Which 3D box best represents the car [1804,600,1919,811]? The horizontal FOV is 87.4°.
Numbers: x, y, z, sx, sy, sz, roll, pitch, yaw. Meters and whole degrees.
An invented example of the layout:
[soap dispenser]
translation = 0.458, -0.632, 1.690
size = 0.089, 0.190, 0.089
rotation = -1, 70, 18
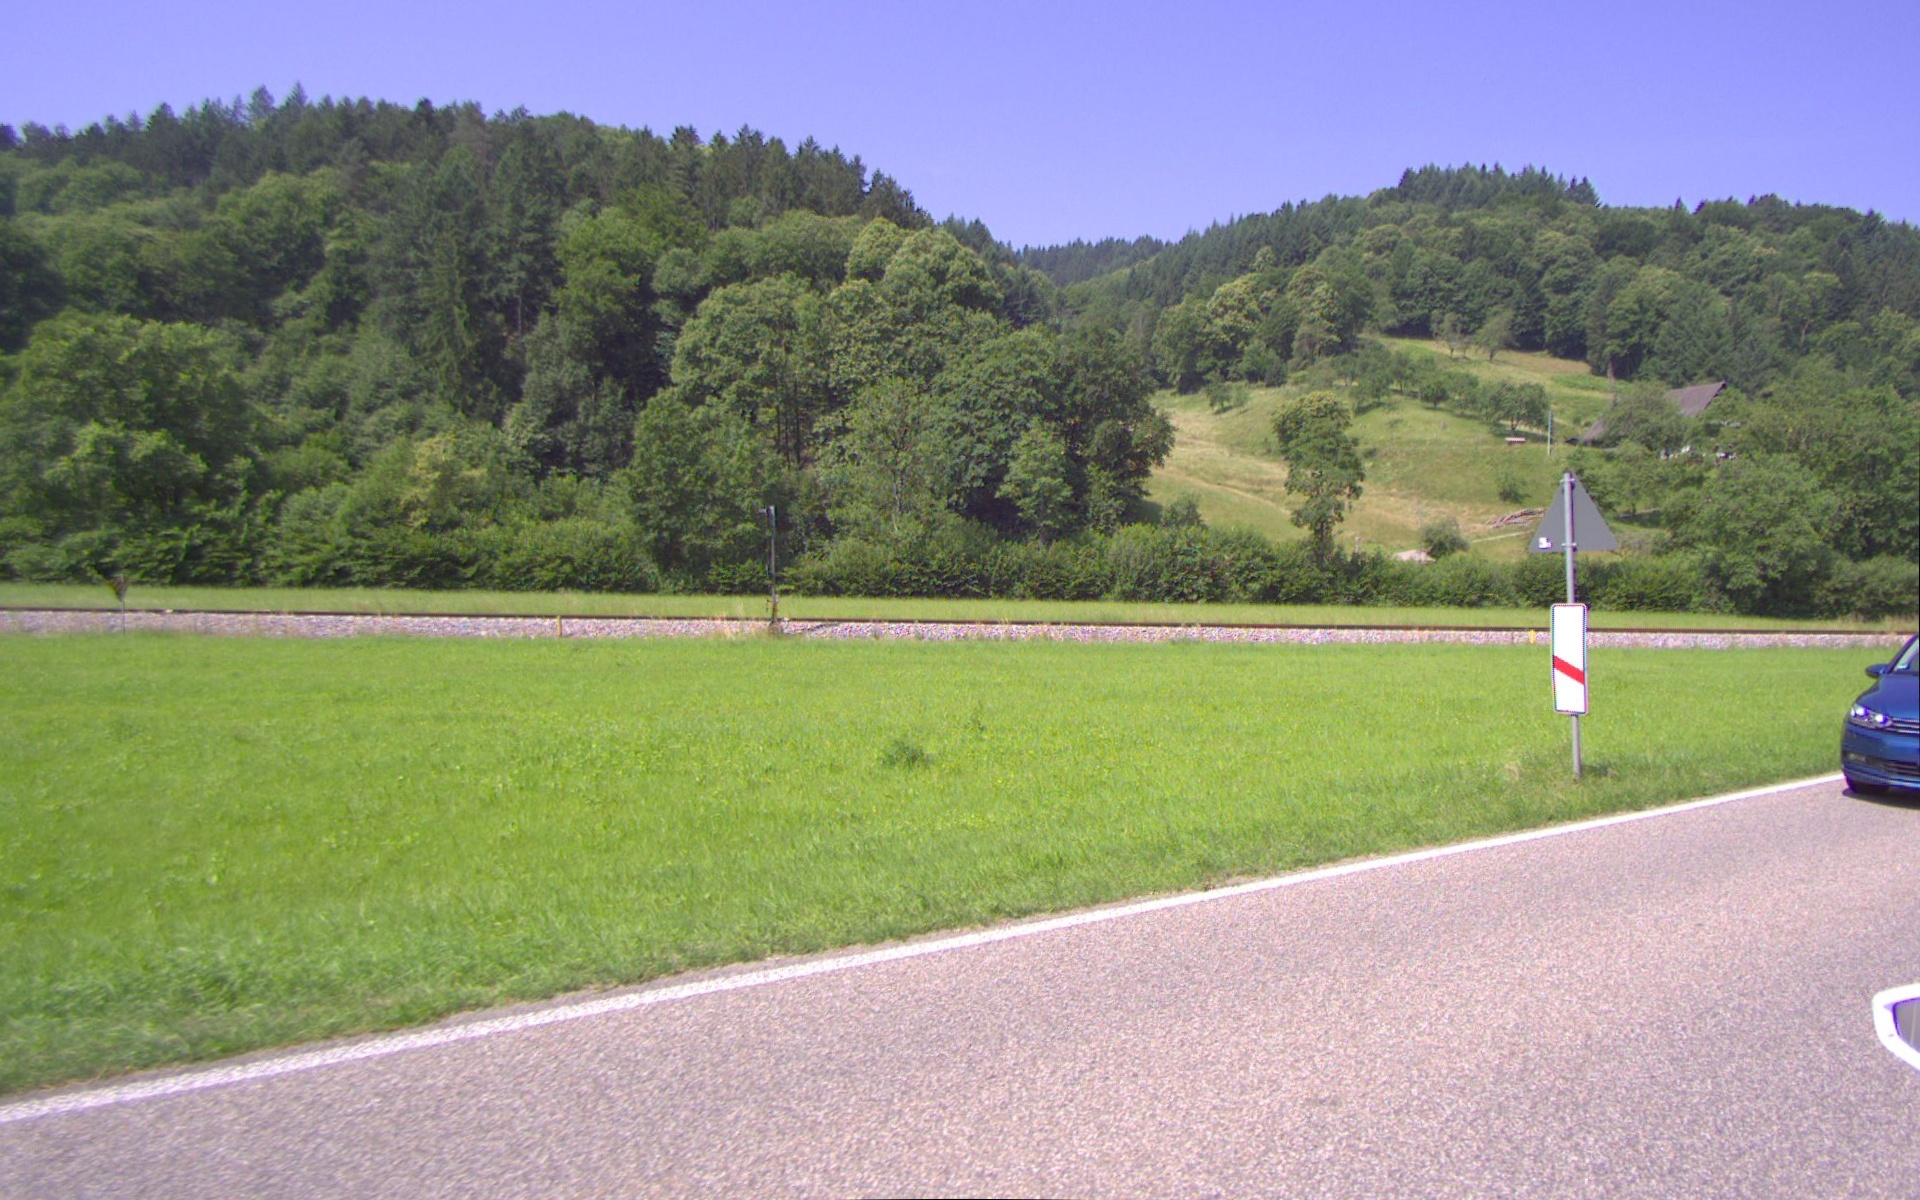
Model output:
[car]
translation = 9.492, 0.861, 8.898
size = 4.461, 1.645, 1.855
rotation = 1, 0, -33
